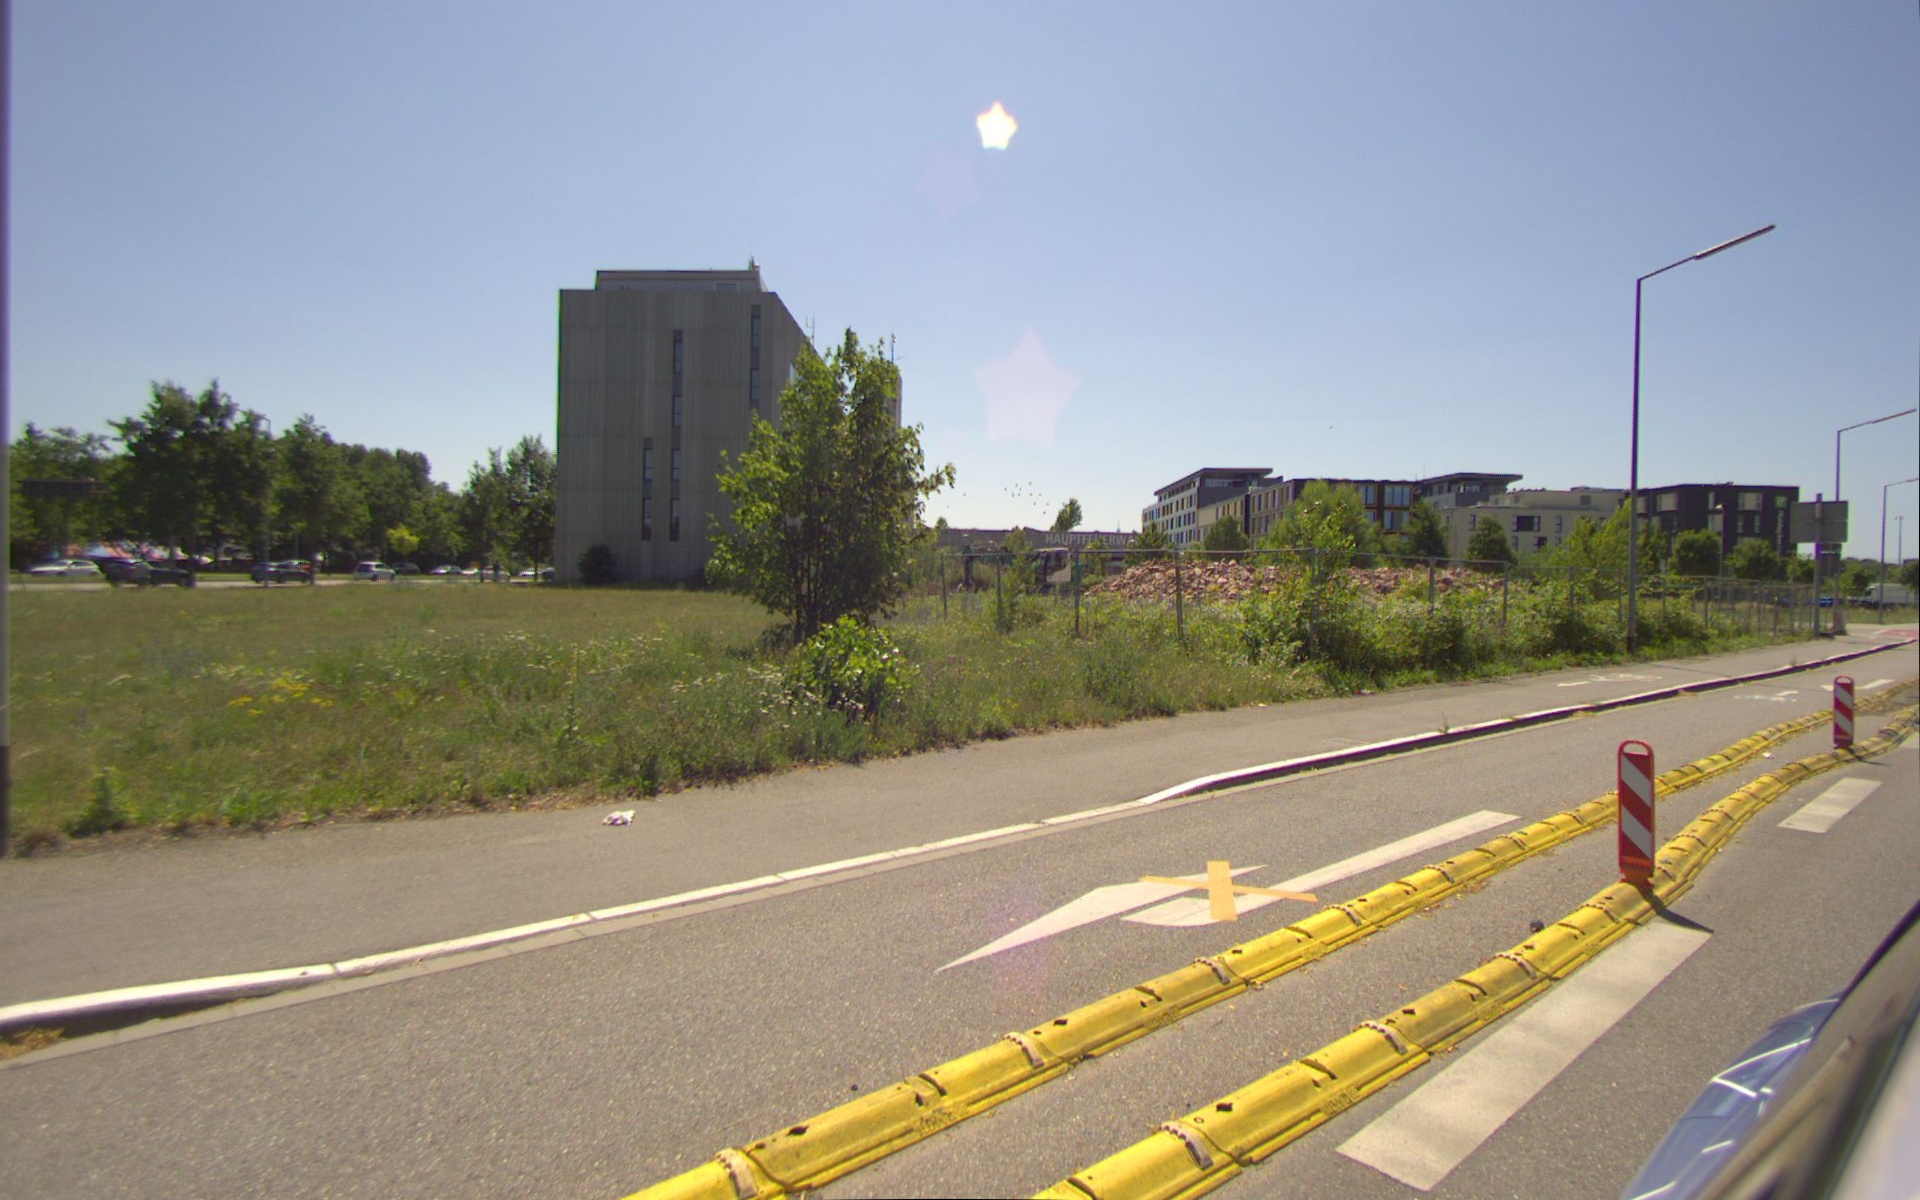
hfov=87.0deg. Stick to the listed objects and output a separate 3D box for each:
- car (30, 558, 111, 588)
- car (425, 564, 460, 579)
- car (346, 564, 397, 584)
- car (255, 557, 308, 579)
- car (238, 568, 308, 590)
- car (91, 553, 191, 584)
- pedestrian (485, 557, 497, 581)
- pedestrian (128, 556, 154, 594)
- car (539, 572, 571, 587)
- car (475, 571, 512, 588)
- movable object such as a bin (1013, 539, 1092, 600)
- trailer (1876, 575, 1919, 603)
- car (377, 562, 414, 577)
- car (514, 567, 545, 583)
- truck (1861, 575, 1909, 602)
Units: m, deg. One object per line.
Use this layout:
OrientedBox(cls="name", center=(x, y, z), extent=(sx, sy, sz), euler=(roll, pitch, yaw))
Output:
OrientedBox(cls="car", center=(-61.159, -1.846, 69.665), extent=(1.963, 2.039, 3.998), euler=(0, 1, 2))
OrientedBox(cls="car", center=(-57.390, -3.157, 112.274), extent=(1.708, 1.571, 3.999), euler=(0, 1, 1))
OrientedBox(cls="car", center=(-47.816, -2.074, 82.311), extent=(1.708, 1.571, 3.999), euler=(0, 1, 1))
OrientedBox(cls="car", center=(-58.058, -2.740, 86.663), extent=(1.770, 1.838, 3.998), euler=(0, 1, 2))
OrientedBox(cls="car", center=(-46.939, -1.434, 69.279), extent=(1.866, 1.408, 4.205), euler=(0, 1, 2))
OrientedBox(cls="car", center=(-45.454, -1.731, 56.314), extent=(1.962, 1.616, 4.447), euler=(0, 1, 0))
OrientedBox(cls="pedestrian", center=(-33.980, -2.236, 73.346), extent=(0.489, 1.712, 0.737), euler=(0, 0, -1))
OrientedBox(cls="pedestrian", center=(-34.126, -1.046, 42.162), extent=(0.489, 1.583, 0.737), euler=(0, 0, -1))
OrientedBox(cls="car", center=(-44.673, -2.256, 111.713), extent=(1.707, 1.571, 4.408), euler=(1, 0, 0))
OrientedBox(cls="car", center=(-44.900, -1.971, 97.453), extent=(1.708, 1.571, 3.999), euler=(0, 1, 1))
OrientedBox(cls="movable object such as a bin", center=(4.931, -1.597, 53.974), extent=(3.619, 3.101, 2.207), euler=(0, 1, -35))
OrientedBox(cls="trailer", center=(119.648, -1.332, 126.444), extent=(8.030, 3.390, 1.998), euler=(1, 1, 4))
OrientedBox(cls="car", center=(-61.029, -3.301, 109.521), extent=(1.708, 1.571, 3.999), euler=(0, 1, 1))
OrientedBox(cls="car", center=(-57.010, -3.312, 134.043), extent=(1.963, 2.001, 4.571), euler=(0, 1, 2))
OrientedBox(cls="truck", center=(115.852, -1.453, 126.741), extent=(3.928, 3.377, 1.998), euler=(1, 1, 4))
